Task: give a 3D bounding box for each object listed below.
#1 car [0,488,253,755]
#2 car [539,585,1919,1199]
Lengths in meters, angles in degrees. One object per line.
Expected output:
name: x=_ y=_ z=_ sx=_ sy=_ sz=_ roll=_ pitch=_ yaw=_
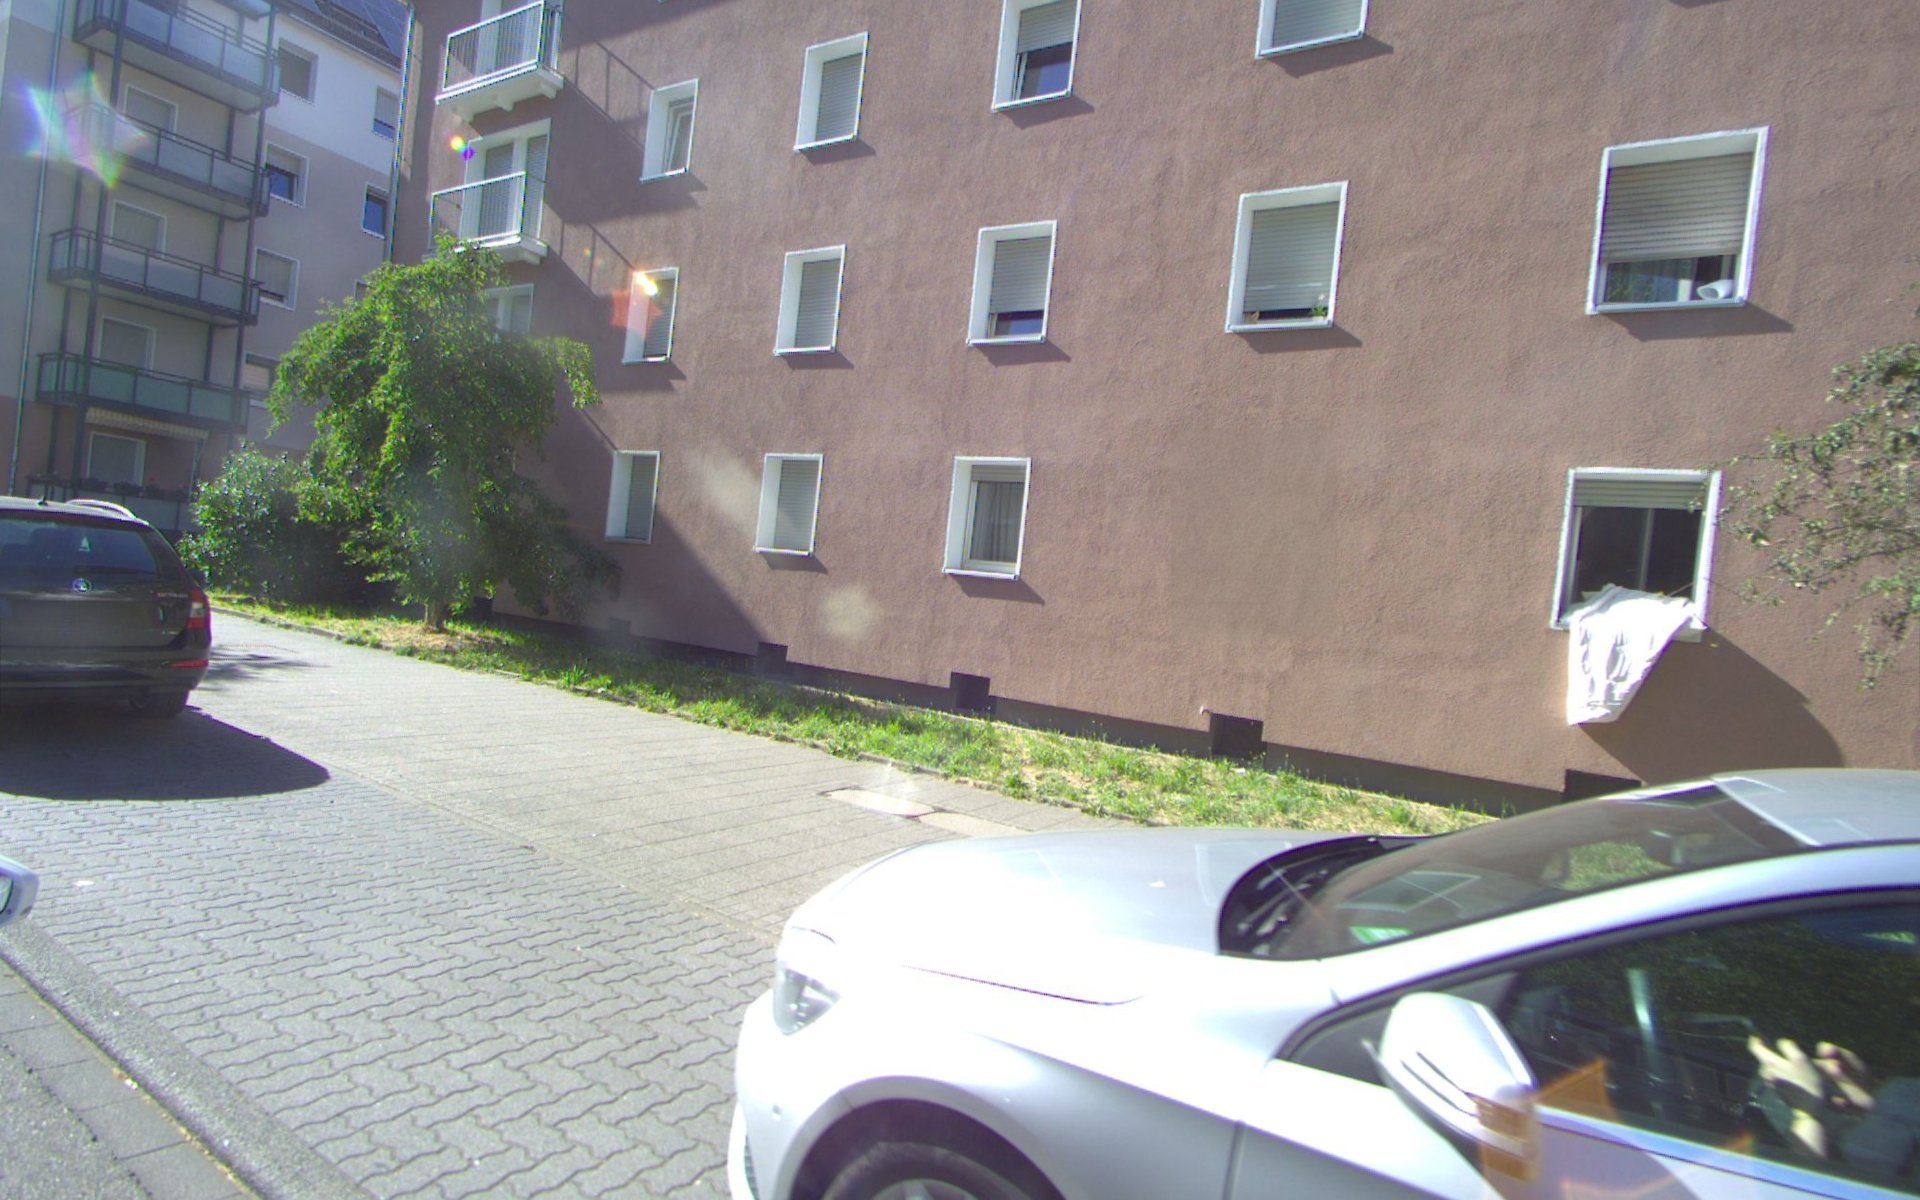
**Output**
car: x=-7.073 y=-0.041 z=7.232 sx=4.239 sy=1.539 sz=1.783 roll=6 pitch=1 yaw=34
car: x=1.283 y=0.946 z=1.846 sx=4.088 sy=1.472 sz=1.741 roll=6 pitch=0 yaw=34
